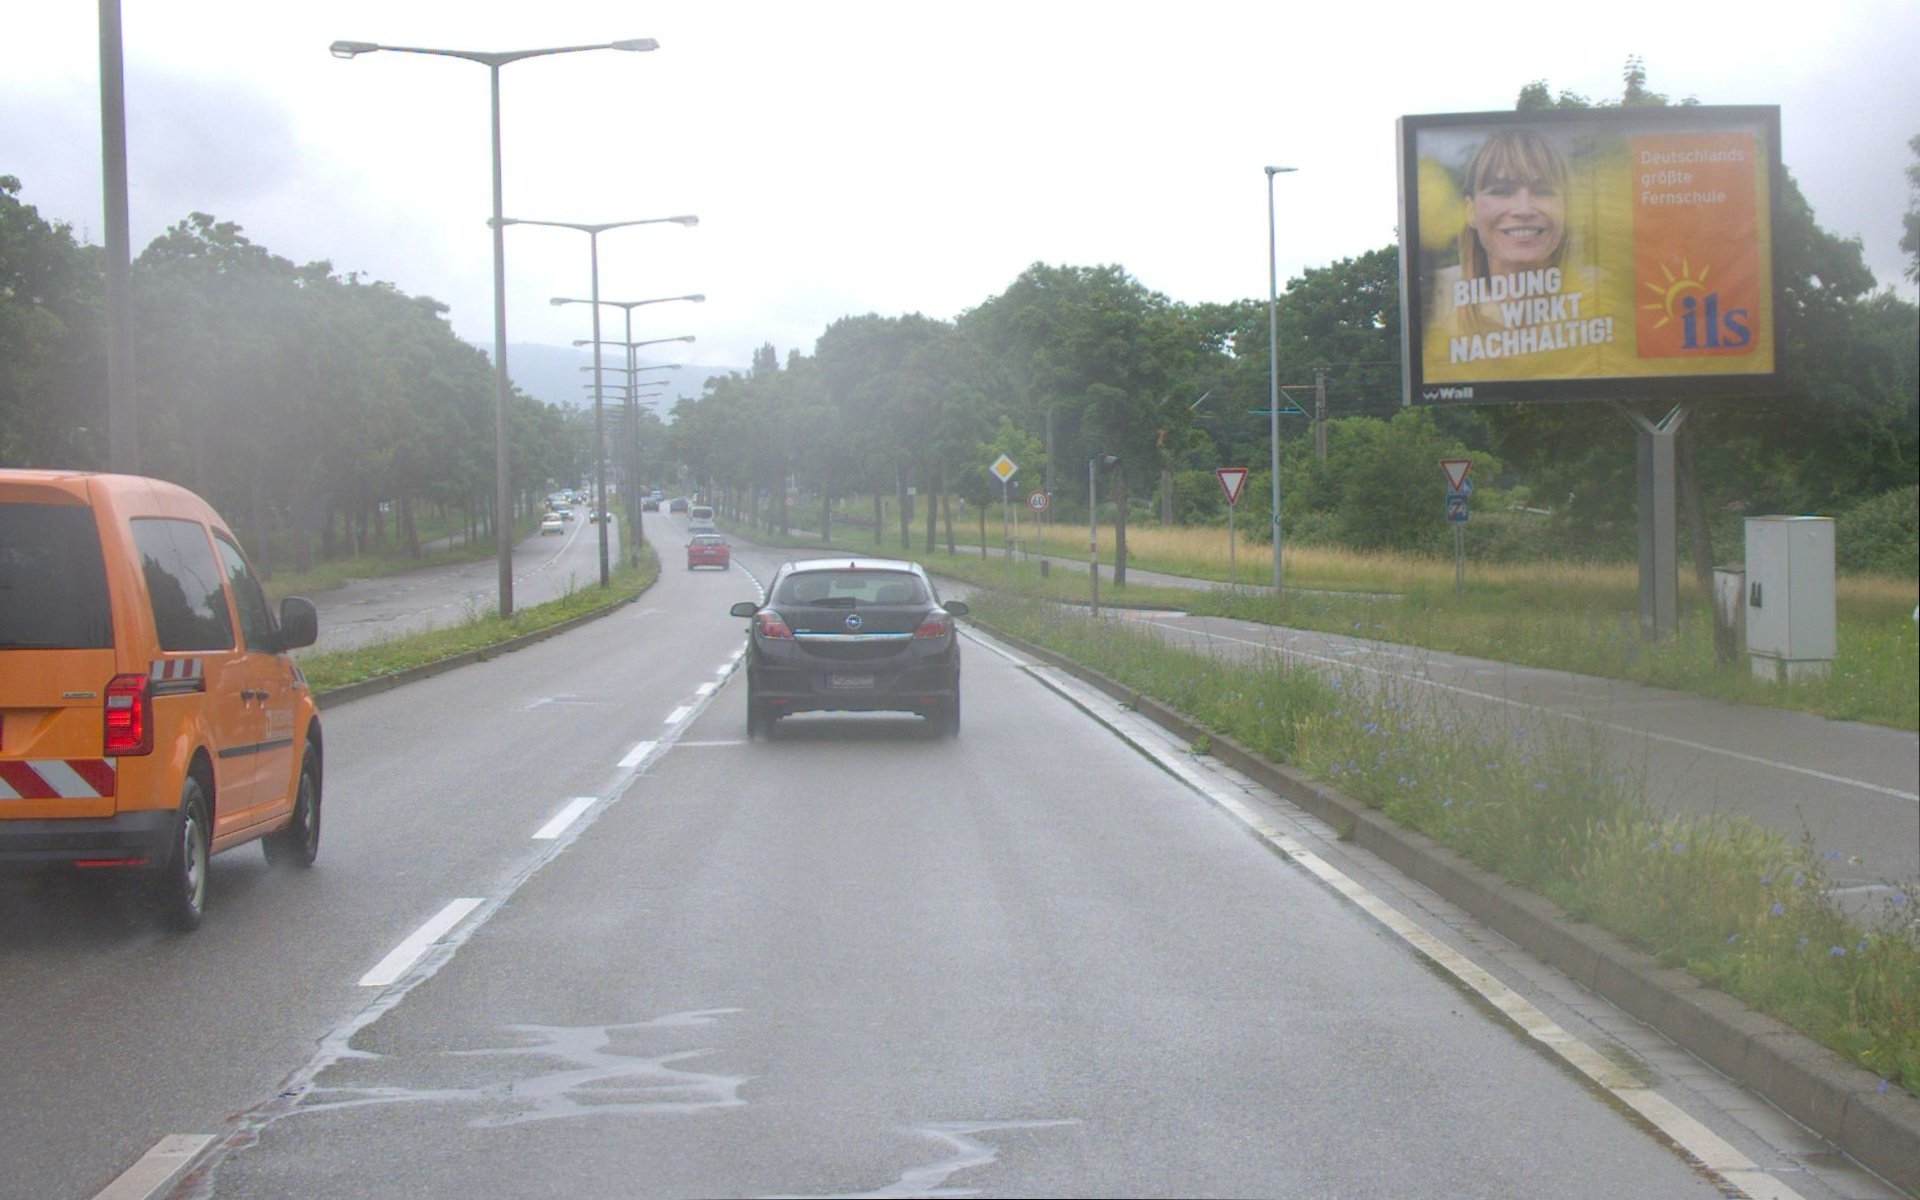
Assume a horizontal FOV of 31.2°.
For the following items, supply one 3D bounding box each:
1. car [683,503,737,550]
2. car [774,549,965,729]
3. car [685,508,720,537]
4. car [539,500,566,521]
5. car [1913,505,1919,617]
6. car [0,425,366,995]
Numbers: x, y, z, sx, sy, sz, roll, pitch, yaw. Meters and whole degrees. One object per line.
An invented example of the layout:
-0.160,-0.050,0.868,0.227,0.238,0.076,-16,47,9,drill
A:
-10.086,-2.953,138.953,1.993,1.873,4.000,0,1,-2,car
-0.753,0.274,28.288,1.463,1.324,3.758,0,2,-2,car
-19.369,-5.804,258.103,2.515,2.045,5.294,-1,1,-5,car
-29.885,-6.561,252.327,1.683,1.548,4.001,0,1,-3,car
19.096,-0.658,59.480,4.605,1.968,2.061,1,1,43,car
-3.783,0.341,14.586,1.734,2.012,4.850,1,1,-1,car
